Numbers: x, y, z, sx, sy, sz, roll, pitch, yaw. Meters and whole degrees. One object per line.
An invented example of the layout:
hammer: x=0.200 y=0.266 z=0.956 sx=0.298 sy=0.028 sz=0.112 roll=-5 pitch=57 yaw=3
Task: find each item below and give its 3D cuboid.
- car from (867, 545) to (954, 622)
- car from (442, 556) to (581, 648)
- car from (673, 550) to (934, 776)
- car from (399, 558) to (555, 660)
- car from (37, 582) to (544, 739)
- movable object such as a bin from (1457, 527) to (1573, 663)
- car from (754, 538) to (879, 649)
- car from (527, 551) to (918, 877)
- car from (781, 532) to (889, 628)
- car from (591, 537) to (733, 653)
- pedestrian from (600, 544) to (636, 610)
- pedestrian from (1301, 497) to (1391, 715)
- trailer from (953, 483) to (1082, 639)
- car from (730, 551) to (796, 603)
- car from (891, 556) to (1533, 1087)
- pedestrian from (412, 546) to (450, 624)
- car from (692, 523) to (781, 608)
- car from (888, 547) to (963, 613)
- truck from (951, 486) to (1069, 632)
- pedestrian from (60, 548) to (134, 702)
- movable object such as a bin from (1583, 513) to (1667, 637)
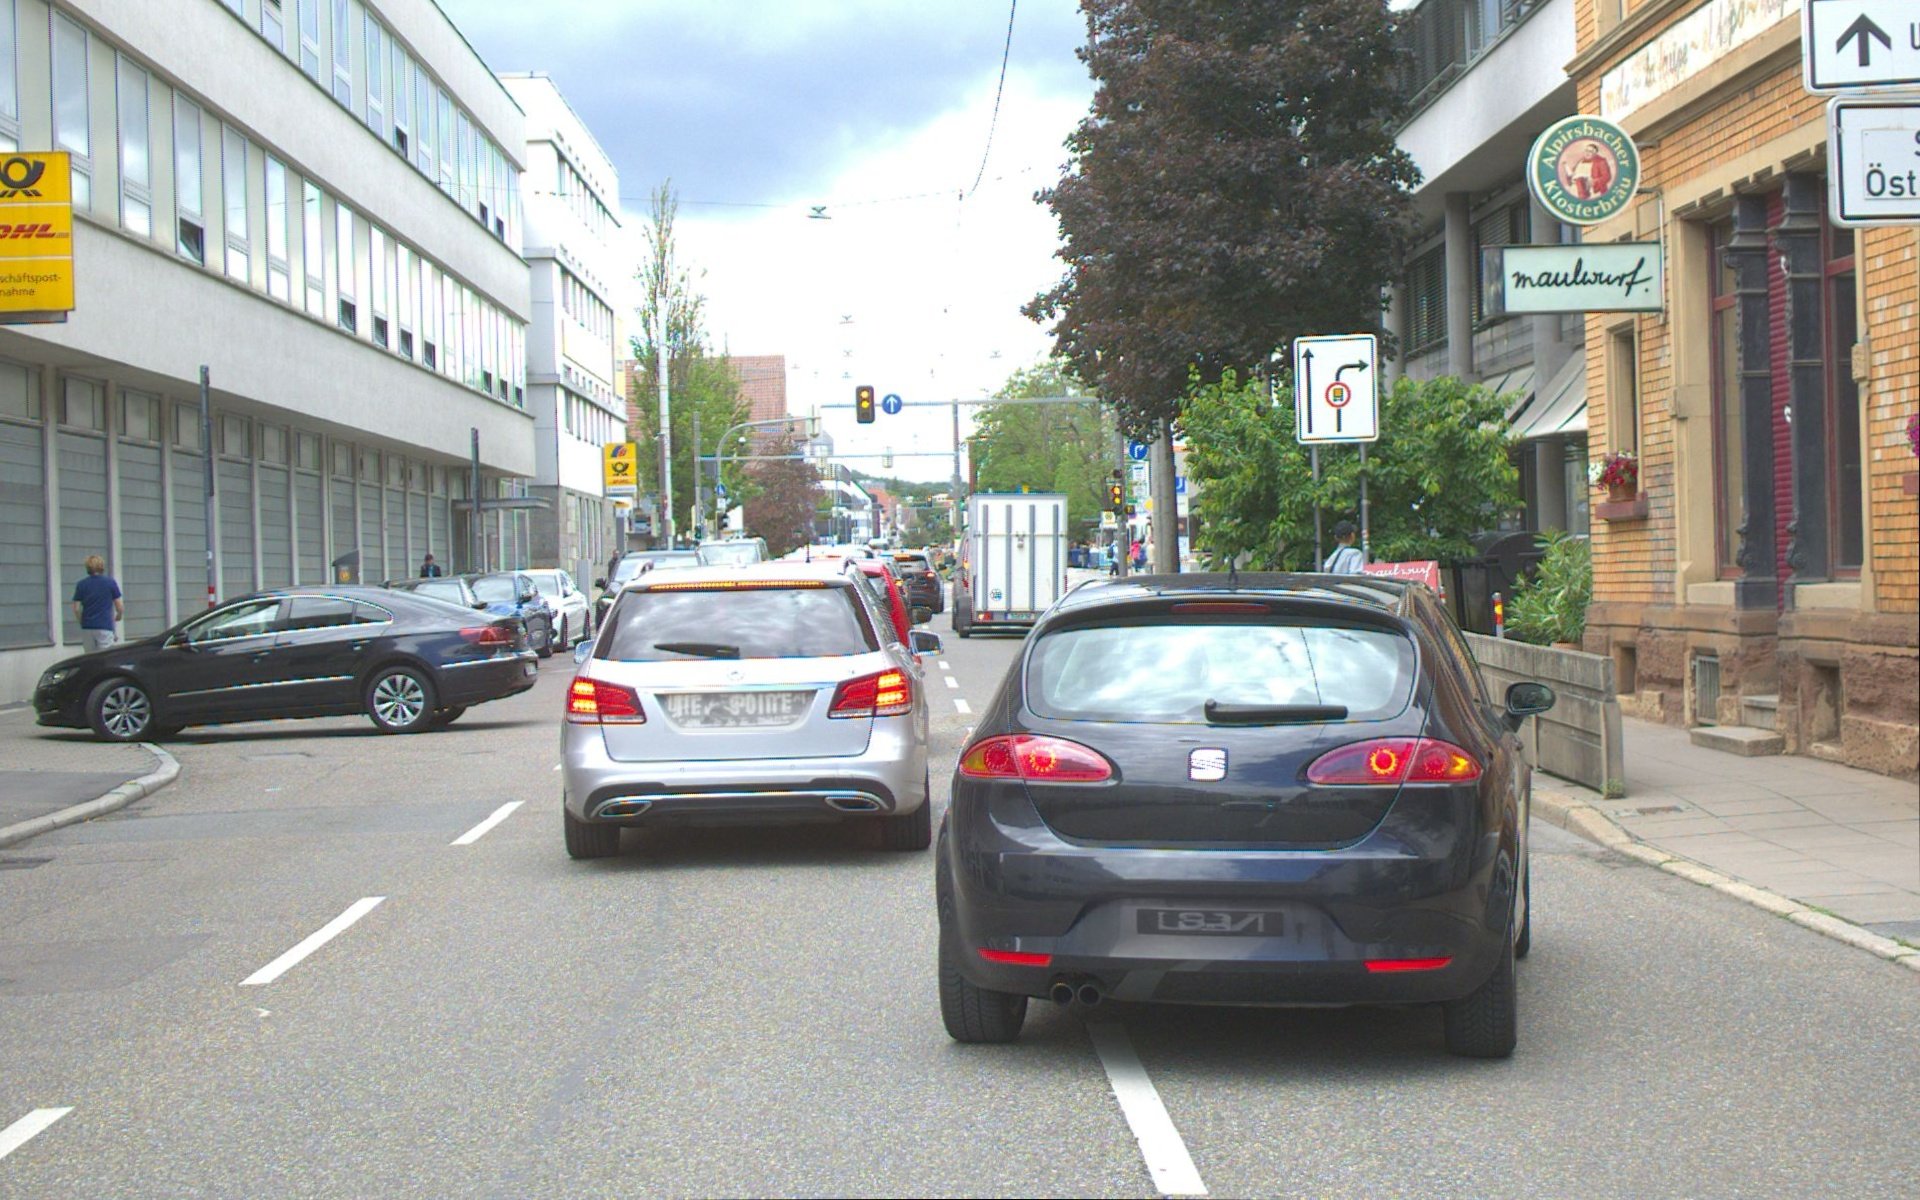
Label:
car: x=-1.079 y=-0.368 z=73.297 sx=1.803 sy=1.596 sz=3.738 roll=0 pitch=1 yaw=-2
car: x=-7.893 y=0.008 z=60.865 sx=1.993 sy=1.511 sz=4.175 roll=-1 pitch=1 yaw=-2
car: x=-1.159 y=0.417 z=26.180 sx=1.803 sy=1.547 sz=3.738 roll=-1 pitch=1 yaw=-2
car: x=-7.697 y=0.111 z=55.151 sx=1.993 sy=1.511 sz=4.175 roll=-1 pitch=1 yaw=-2
car: x=-6.344 y=0.561 z=32.838 sx=4.399 sy=1.361 sz=1.785 roll=-1 pitch=1 yaw=6
movable object such as a bin: x=6.318 y=-0.064 z=39.230 sx=0.943 sy=1.465 sz=1.446 roll=-3 pitch=1 yaw=-3
car: x=-2.134 y=-0.125 z=51.801 sx=1.803 sy=1.596 sz=3.738 roll=0 pitch=1 yaw=-2
car: x=-1.170 y=0.509 z=18.044 sx=1.803 sy=1.487 sz=3.738 roll=-1 pitch=1 yaw=-2
car: x=-2.154 y=-0.364 z=59.625 sx=1.803 sy=1.596 sz=3.738 roll=0 pitch=1 yaw=-2
car: x=-4.851 y=-0.118 z=56.518 sx=1.993 sy=1.733 sz=4.554 roll=-3 pitch=1 yaw=-2
pedestrian: x=-9.813 y=-0.656 z=98.534 sx=0.918 sy=1.862 sz=0.783 roll=-2 pitch=1 yaw=-2
pedestrian: x=3.612 y=0.048 z=32.198 sx=0.693 sy=2.007 sz=0.677 roll=-1 pitch=1 yaw=-2
trailer: x=0.976 y=-0.711 z=61.184 sx=1.993 sy=2.598 sz=5.350 roll=-1 pitch=1 yaw=-2
car: x=-5.868 y=-0.704 z=102.788 sx=1.769 sy=1.408 sz=4.175 roll=-3 pitch=1 yaw=-2
car: x=0.999 y=0.601 z=11.476 sx=1.766 sy=1.428 sz=3.827 roll=-1 pitch=1 yaw=9
pedestrian: x=-11.017 y=-0.316 z=71.608 sx=0.656 sy=1.617 sz=0.681 roll=-1 pitch=1 yaw=0
car: x=-5.599 y=-0.887 z=86.621 sx=1.993 sy=2.007 sz=4.903 roll=-2 pitch=1 yaw=-2
car: x=-0.890 y=-0.523 z=85.928 sx=1.803 sy=1.596 sz=3.738 roll=0 pitch=1 yaw=-2
truck: x=0.899 y=-0.763 z=63.946 sx=1.993 sy=2.598 sz=3.260 roll=-1 pitch=1 yaw=-2
pedestrian: x=-10.060 y=0.284 z=40.094 sx=0.642 sy=1.763 sz=0.810 roll=-1 pitch=1 yaw=-2
movable object such as a bin: x=8.386 y=-0.311 z=43.390 sx=0.821 sy=1.499 sz=0.732 roll=-4 pitch=0 yaw=0
